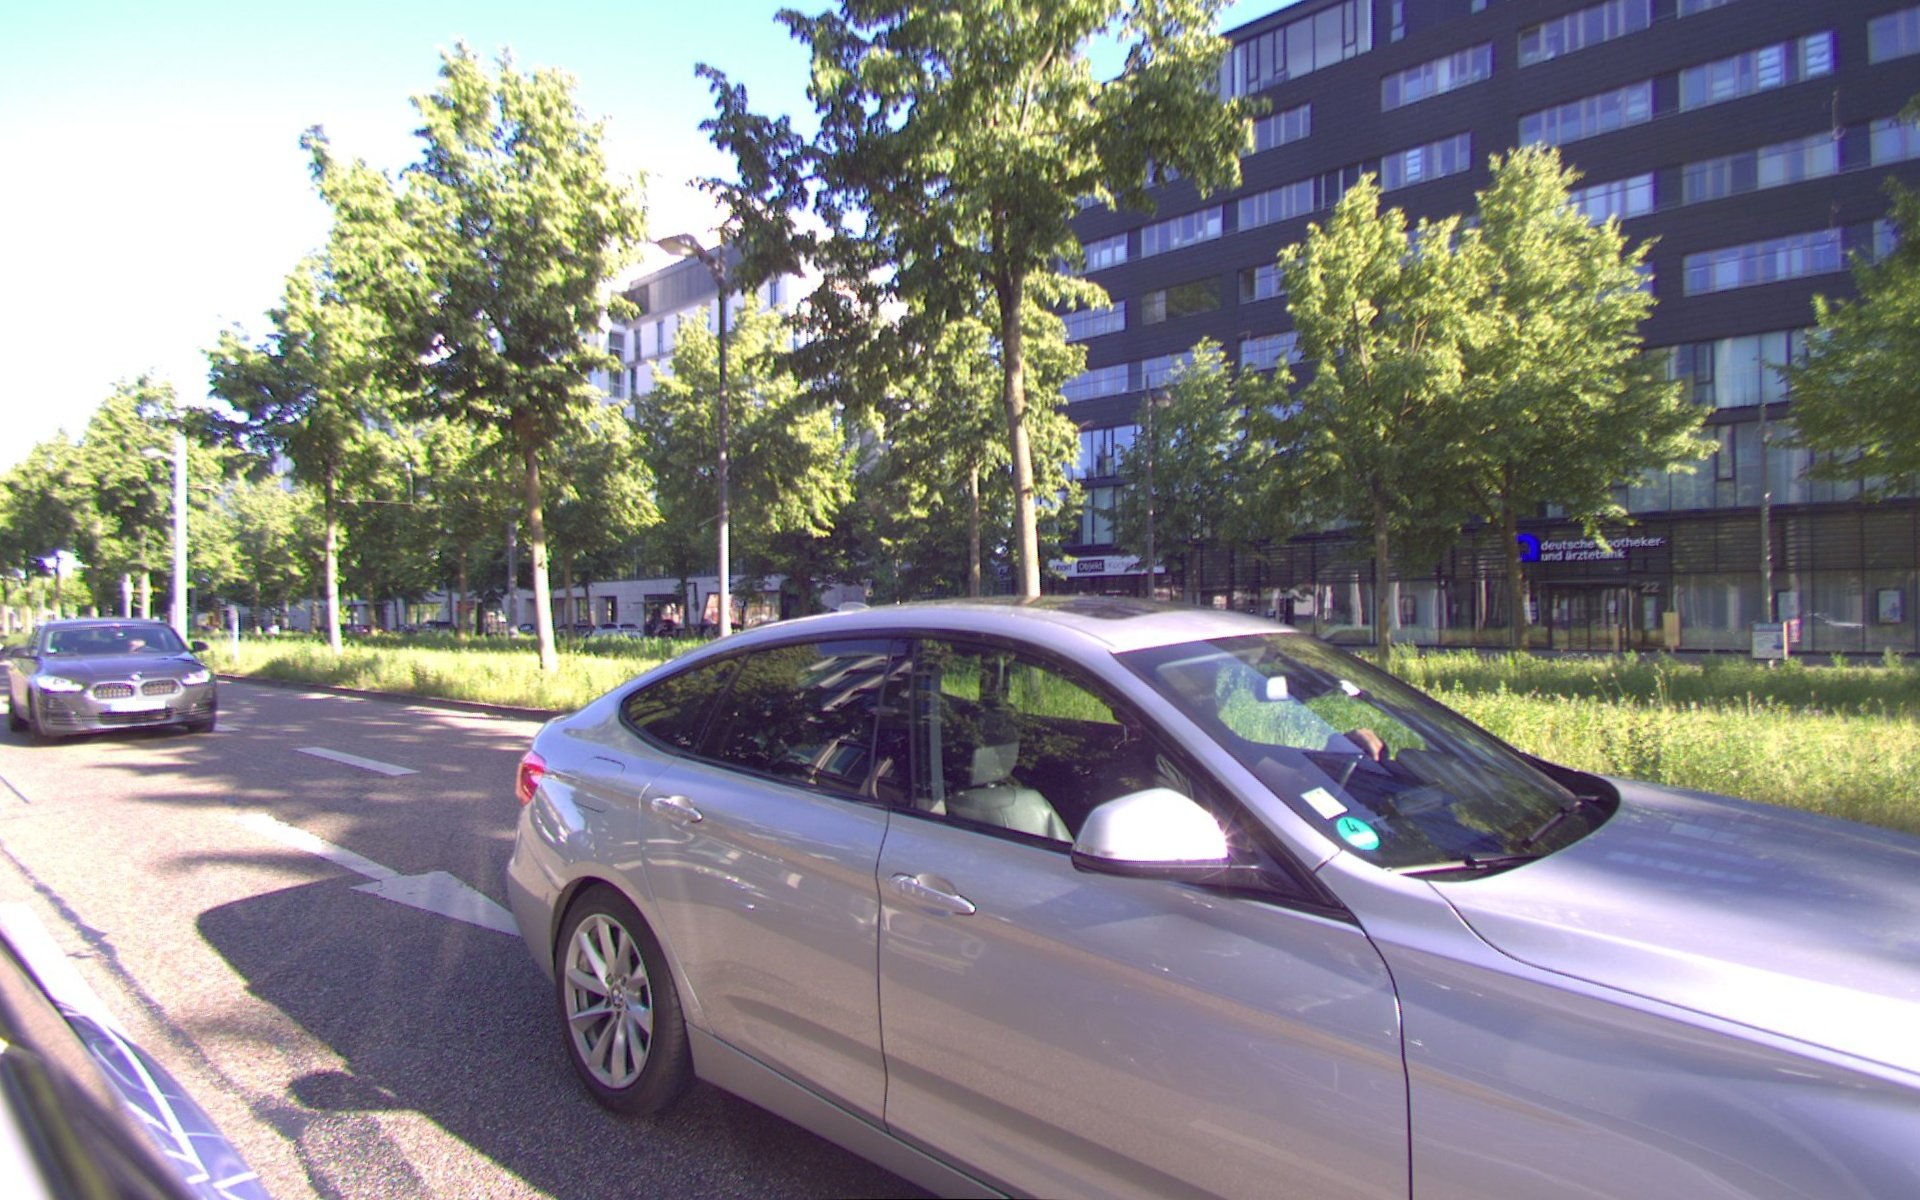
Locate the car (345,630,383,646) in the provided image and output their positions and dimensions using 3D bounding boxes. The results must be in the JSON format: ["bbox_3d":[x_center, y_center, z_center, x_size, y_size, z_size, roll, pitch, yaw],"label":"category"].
[{"bbox_3d":[-53.883,3.395,91.450,4.001,1.406,1.971,-2,-2,44],"label":"car"}]

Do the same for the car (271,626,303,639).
[{"bbox_3d":[-72.531,3.495,109.075,3.998,1.406,1.972,-2,-2,41],"label":"car"}]

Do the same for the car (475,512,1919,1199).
[{"bbox_3d":[0.691,0.680,2.586,4.558,1.495,1.800,-1,-1,40],"label":"car"}]

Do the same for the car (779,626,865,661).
[{"bbox_3d":[-6.768,2.078,49.398,4.182,1.609,1.926,-2,-1,41],"label":"car"}]

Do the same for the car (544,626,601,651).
[{"bbox_3d":[-25.700,2.525,67.066,4.182,1.609,1.859,-2,-1,41],"label":"car"}]

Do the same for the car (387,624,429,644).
[{"bbox_3d":[-46.586,2.850,85.388,4.182,1.609,1.859,-2,-1,41],"label":"car"}]

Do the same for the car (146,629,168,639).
[{"bbox_3d":[-114.624,4.806,144.509,4.001,1.406,1.971,-2,-2,44],"label":"car"}]

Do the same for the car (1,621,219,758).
[{"bbox_3d":[-11.250,1.040,13.300,4.002,1.502,1.835,-2,-1,45],"label":"car"}]

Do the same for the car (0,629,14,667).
[{"bbox_3d":[-38.501,1.875,39.610,4.344,1.434,1.854,-1,-1,43],"label":"car"}]

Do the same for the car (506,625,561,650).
[{"bbox_3d":[-29.729,2.590,70.478,4.182,1.609,1.859,-2,-1,41],"label":"car"}]

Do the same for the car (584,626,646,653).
[{"bbox_3d":[-21.545,2.464,63.126,4.182,1.609,1.859,-2,-1,41],"label":"car"}]

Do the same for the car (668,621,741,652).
[{"bbox_3d":[-14.180,2.002,56.067,4.182,1.609,1.926,-2,-1,41],"label":"car"}]

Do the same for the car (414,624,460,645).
[{"bbox_3d":[-42.131,2.781,81.492,4.182,1.609,1.859,-2,-1,41],"label":"car"}]

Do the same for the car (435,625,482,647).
[{"bbox_3d":[-38.669,2.735,77.985,4.182,1.609,1.859,-2,-1,41],"label":"car"}]
